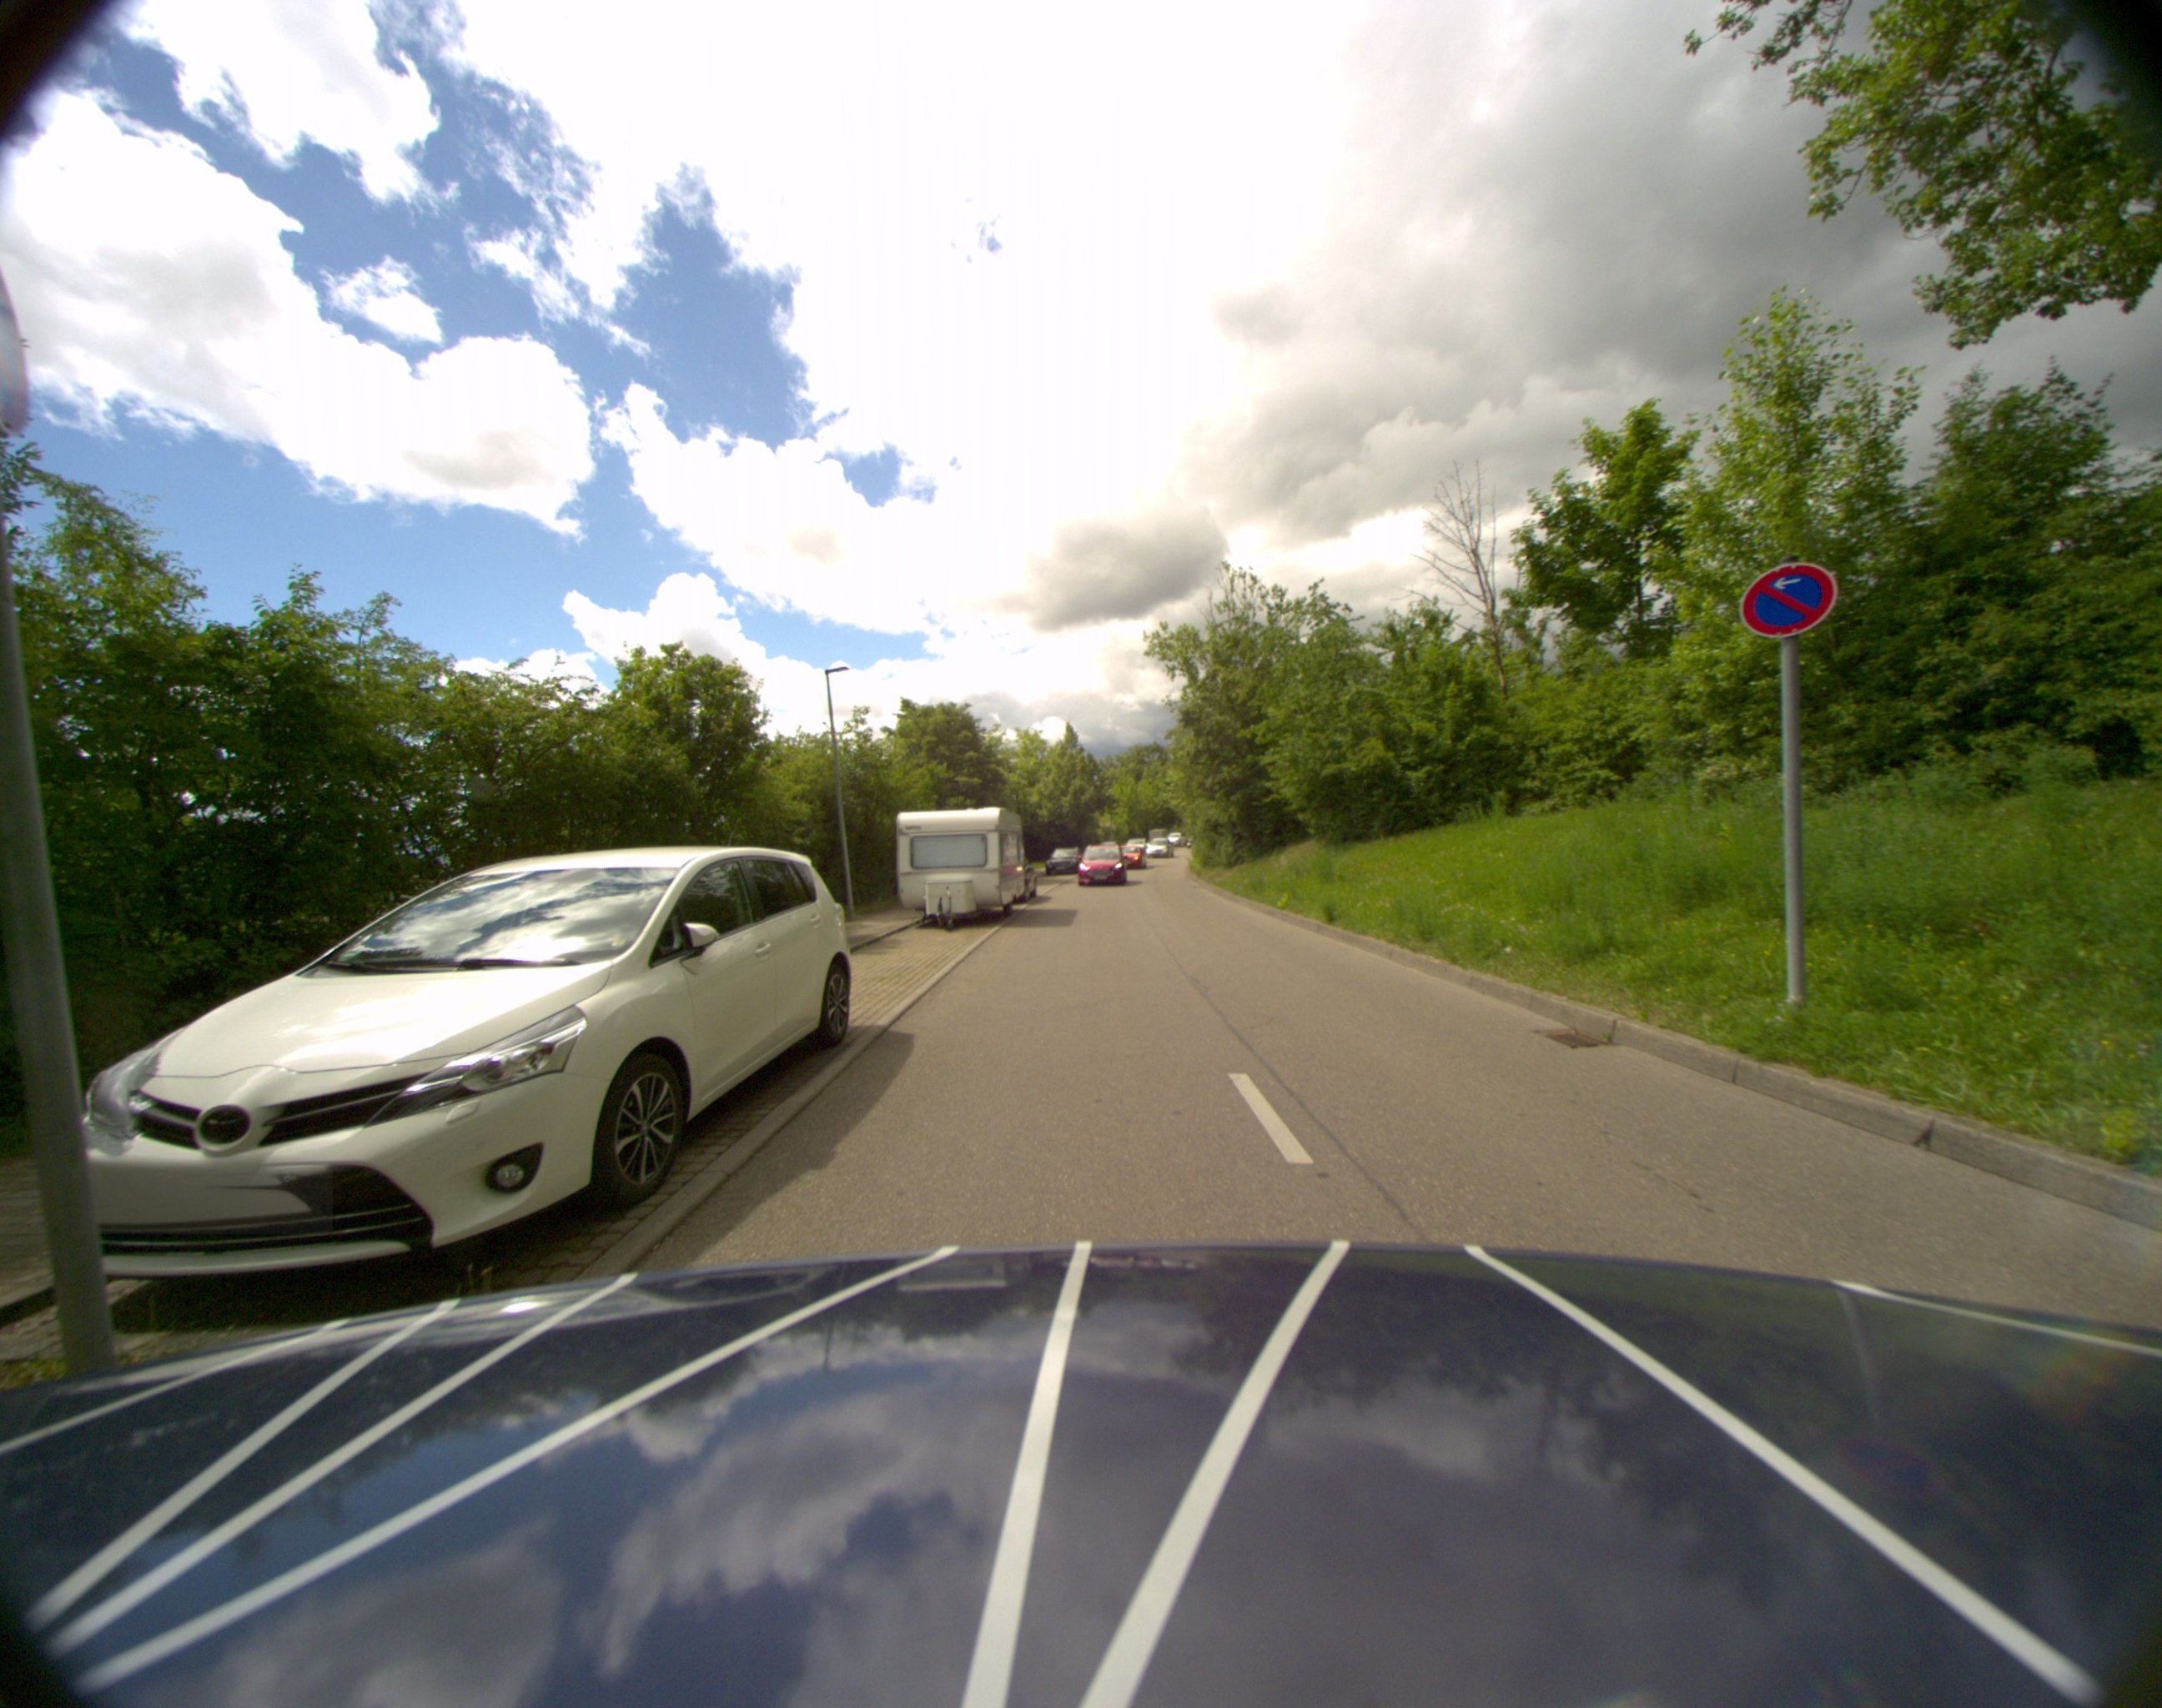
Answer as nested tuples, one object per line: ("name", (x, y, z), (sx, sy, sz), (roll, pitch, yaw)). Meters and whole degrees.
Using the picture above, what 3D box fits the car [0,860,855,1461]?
("car", (-2.869, 0.903, 4.332), (1.809, 1.590, 4.371), (-2, 1, 0))

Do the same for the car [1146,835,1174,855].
("car", (6.722, -0.762, 64.031), (1.794, 1.501, 4.115), (0, 3, 14))

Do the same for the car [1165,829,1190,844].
("car", (10.677, -1.985, 83.684), (1.707, 1.469, 3.787), (0, 4, 24))

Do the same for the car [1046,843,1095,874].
("car", (-0.515, 0.223, 42.308), (1.896, 1.521, 4.548), (-3, 1, 9))

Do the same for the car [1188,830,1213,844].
("car", (12.808, -1.798, 81.215), (1.793, 1.500, 4.119), (1, 2, 22))

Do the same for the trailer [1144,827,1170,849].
("trailer", (7.839, -1.670, 78.208), (1.732, 2.067, 3.786), (0, 4, 19))

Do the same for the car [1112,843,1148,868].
("car", (3.063, 0.049, 46.817), (1.794, 1.405, 4.115), (-1, 1, 10))

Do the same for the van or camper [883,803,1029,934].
("van or camper", (-2.670, 0.248, 17.712), (2.360, 2.539, 5.073), (-2, 1, 1))

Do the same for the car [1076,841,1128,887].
("car", (0.934, 0.359, 31.097), (1.911, 1.689, 4.387), (-1, 1, 3))

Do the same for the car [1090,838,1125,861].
("car", (2.105, -0.371, 58.631), (1.772, 1.509, 4.109), (-2, 3, 14))

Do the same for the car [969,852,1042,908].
("car", (-2.269, 0.735, 23.984), (1.686, 1.442, 4.479), (-3, 1, 1))

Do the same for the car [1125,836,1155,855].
("car", (5.466, -0.818, 69.852), (1.865, 1.469, 4.905), (-1, 3, 16))
